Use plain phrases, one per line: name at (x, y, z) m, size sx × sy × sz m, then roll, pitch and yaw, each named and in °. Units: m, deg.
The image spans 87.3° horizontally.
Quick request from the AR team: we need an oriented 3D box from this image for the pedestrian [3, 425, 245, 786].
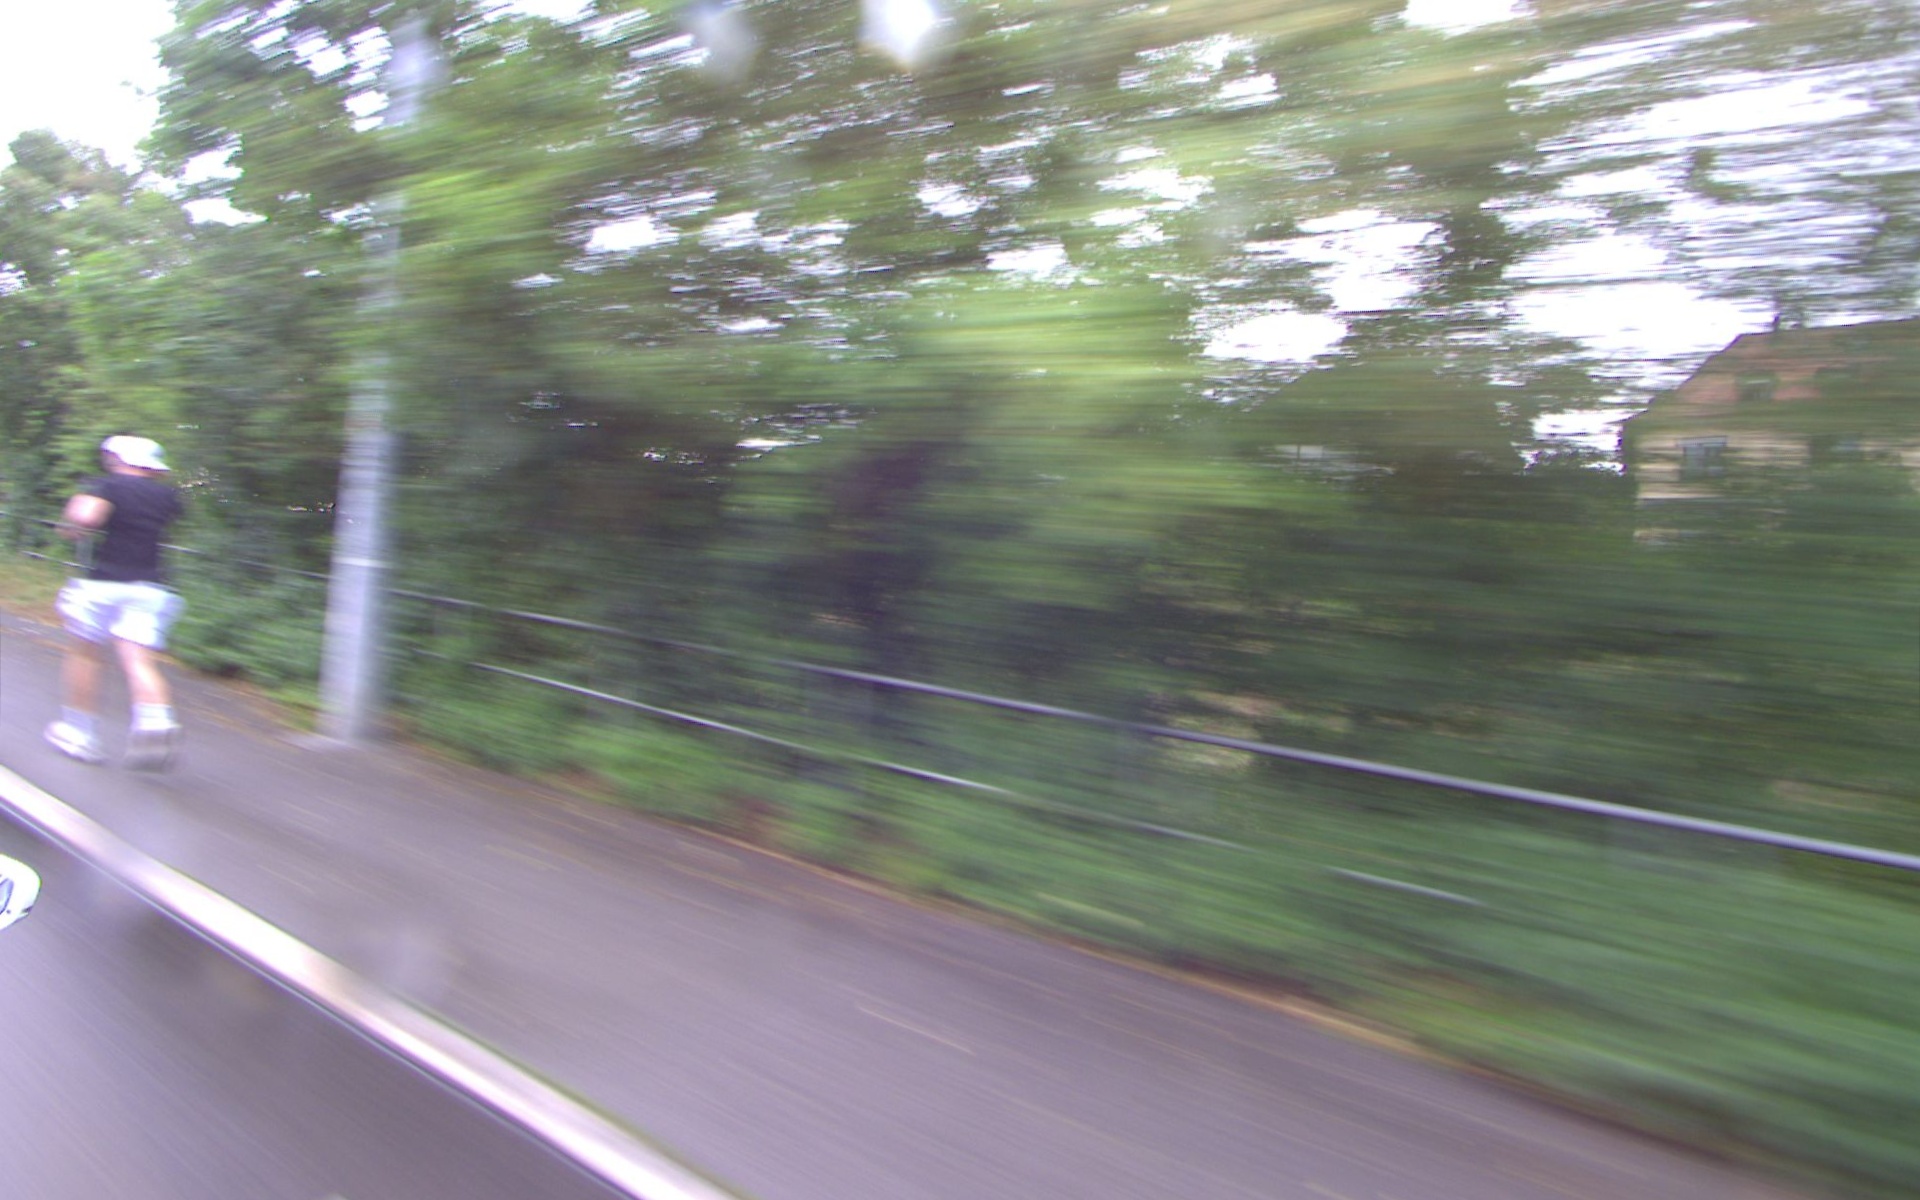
pedestrian at (-4.766, 0.004, 5.731) m, size 1.005 × 1.859 × 0.716 m, roll 7°, pitch 3°, yaw 34°
